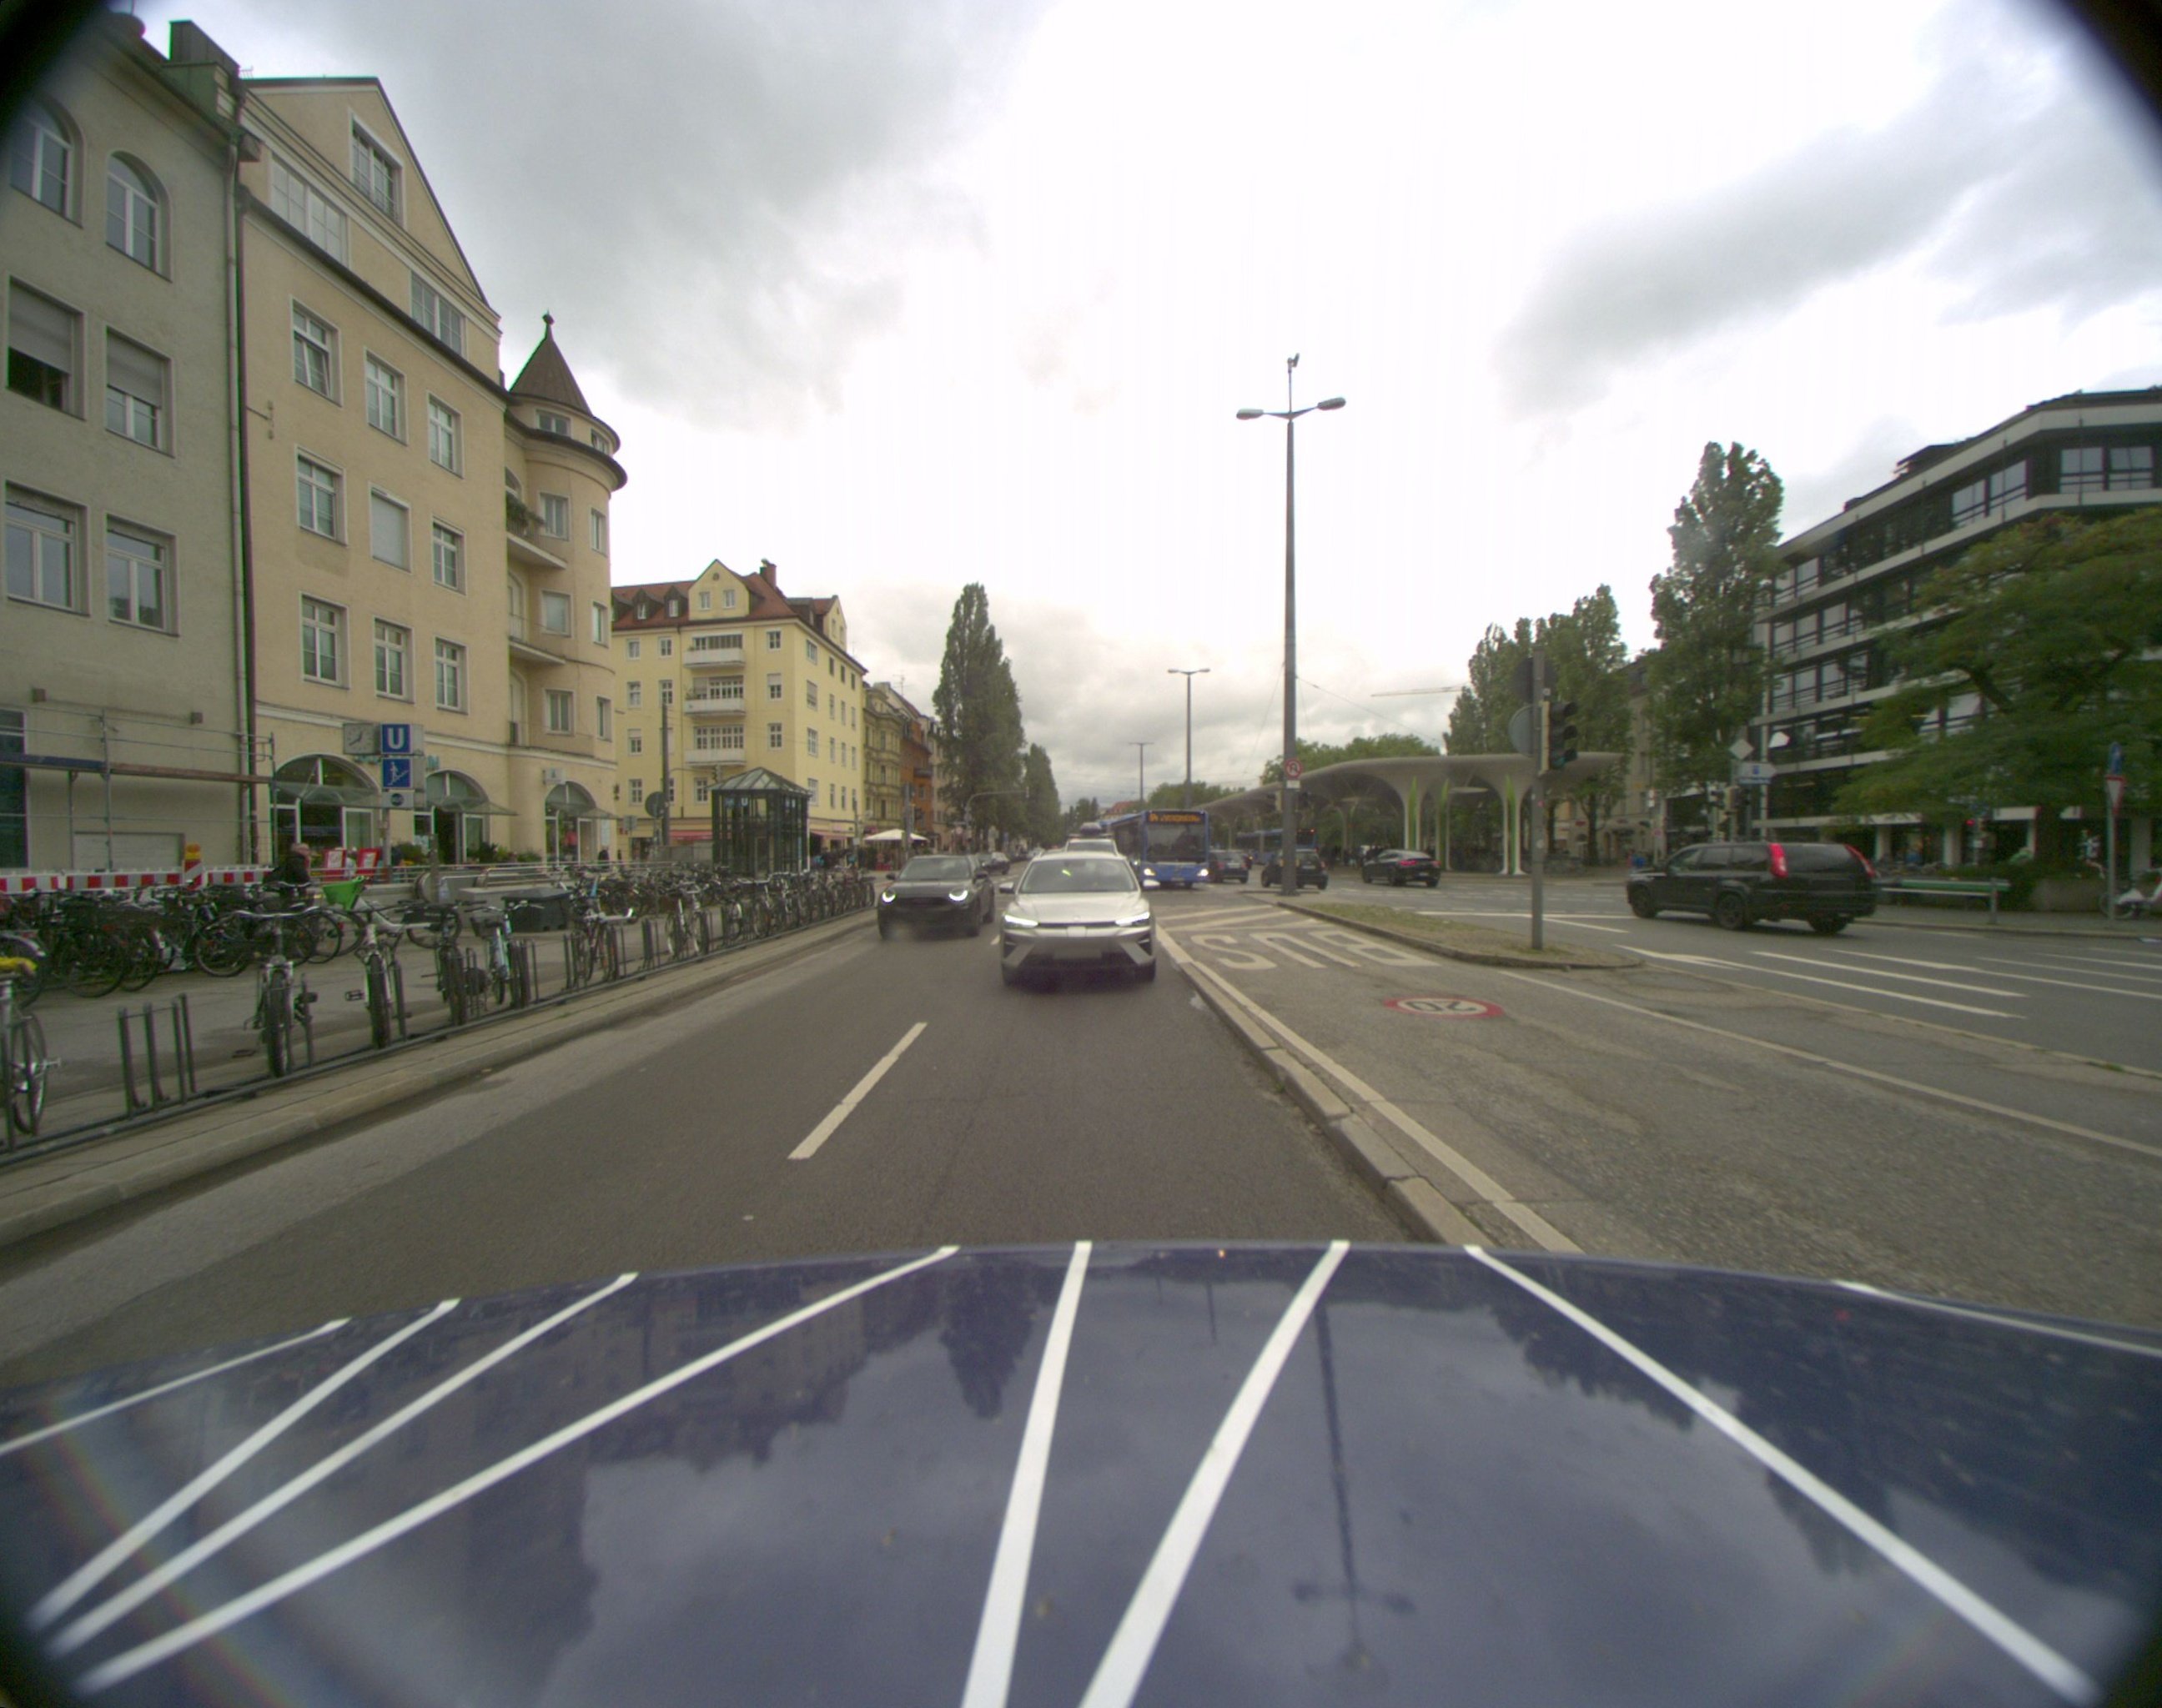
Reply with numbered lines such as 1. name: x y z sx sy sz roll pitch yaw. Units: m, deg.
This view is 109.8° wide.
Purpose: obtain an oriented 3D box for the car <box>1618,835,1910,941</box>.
1. car: 13.093 0.534 15.083 1.997 1.767 4.600 0 1 6

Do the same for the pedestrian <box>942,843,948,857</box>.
1. pedestrian: -16.020 -0.504 89.422 0.552 1.675 0.585 0 1 2

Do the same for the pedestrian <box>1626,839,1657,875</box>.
1. pedestrian: 28.041 0.148 38.023 0.861 1.767 0.980 0 1 2

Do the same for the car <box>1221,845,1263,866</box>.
1. car: 11.621 0.088 55.106 1.999 1.408 4.614 0 1 0

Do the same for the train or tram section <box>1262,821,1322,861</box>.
1. train or tram section: 16.791 -1.053 61.082 2.840 2.984 7.406 0 1 1

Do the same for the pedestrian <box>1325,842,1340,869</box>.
1. pedestrian: 16.371 0.064 49.498 0.711 1.738 0.788 0 1 0

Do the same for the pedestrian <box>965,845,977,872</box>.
1. pedestrian: -7.440 0.285 51.431 0.732 1.792 0.710 0 3 -8

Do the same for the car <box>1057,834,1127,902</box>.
1. car: 0.362 0.358 24.192 1.998 1.889 4.234 -2 2 1

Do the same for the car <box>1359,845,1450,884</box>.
1. car: 14.026 0.412 33.250 1.999 1.567 4.615 0 1 0

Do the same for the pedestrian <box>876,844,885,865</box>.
1. pedestrian: -15.911 0.023 60.341 0.552 1.675 0.585 0 1 2

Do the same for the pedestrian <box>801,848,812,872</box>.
1. pedestrian: -18.173 0.395 50.326 0.528 1.517 0.585 0 1 2

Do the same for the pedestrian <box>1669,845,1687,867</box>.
1. pedestrian: 44.930 0.150 57.207 0.834 1.689 0.906 0 1 23

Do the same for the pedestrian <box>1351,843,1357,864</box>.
1. pedestrian: 19.388 -0.059 53.959 0.320 1.494 0.317 0 1 -8

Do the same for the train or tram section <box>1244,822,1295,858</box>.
1. train or tram section: 16.884 -1.243 68.487 2.840 2.984 7.406 0 1 1

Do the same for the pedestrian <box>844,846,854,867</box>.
1. pedestrian: -17.304 0.200 56.748 0.528 1.517 0.585 0 1 2

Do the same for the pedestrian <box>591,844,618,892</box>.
1. pedestrian: -17.077 0.500 27.243 0.566 1.692 0.590 0 3 0

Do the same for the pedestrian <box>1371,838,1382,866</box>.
1. pedestrian: 19.345 -0.126 49.793 0.666 1.840 0.789 0 1 21

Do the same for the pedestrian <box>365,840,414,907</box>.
1. pedestrian: -18.233 0.495 20.038 0.618 1.729 0.644 0 3 0

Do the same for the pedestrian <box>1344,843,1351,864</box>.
1. pedestrian: 18.959 -0.042 54.070 0.426 1.494 0.490 1 2 27

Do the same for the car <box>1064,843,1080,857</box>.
1. car: -1.166 -0.538 95.044 1.999 1.630 3.999 0 1 -1

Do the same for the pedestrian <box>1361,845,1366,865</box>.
1. pedestrian: 19.838 0.068 53.363 0.303 1.369 0.270 0 1 -2

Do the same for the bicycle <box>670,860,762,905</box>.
1. bicycle: -10.337 0.803 21.560 2.317 1.220 0.628 0 1 3

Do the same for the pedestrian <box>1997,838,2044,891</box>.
1. pedestrian: 31.451 0.346 25.442 0.765 1.725 0.648 0 1 -6

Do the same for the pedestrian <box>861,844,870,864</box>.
1. pedestrian: -18.005 0.031 63.518 0.552 1.675 0.585 0 1 2

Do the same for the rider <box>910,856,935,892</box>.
1. rider: -5.685 0.697 27.307 0.732 1.234 0.732 1 2 -2

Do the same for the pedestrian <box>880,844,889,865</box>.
1. pedestrian: -15.418 0.031 59.549 0.552 1.675 0.585 0 1 2

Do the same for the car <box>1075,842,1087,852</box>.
1. car: -0.006 -1.273 129.686 1.858 1.696 4.000 0 1 2

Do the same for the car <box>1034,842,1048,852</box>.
1. car: -6.596 -1.226 125.740 1.998 1.630 3.999 0 1 1

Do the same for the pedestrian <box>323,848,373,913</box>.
1. pedestrian: -17.858 0.637 18.521 0.566 1.533 0.590 0 3 0

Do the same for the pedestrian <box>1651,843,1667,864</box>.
1. pedestrian: 49.184 -0.051 64.676 0.799 1.714 0.827 0 1 12

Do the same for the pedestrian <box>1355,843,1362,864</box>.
1. pedestrian: 19.558 -0.026 53.623 0.335 1.494 0.317 0 1 -8

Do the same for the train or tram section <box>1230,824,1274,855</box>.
1. train or tram section: 16.964 -1.435 75.884 2.840 2.984 7.406 0 1 1

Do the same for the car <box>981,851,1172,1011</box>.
1. car: 0.012 0.778 9.730 1.896 1.483 3.999 -2 2 2

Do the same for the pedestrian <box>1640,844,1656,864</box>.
1. pedestrian: 48.240 -0.017 64.677 0.799 1.714 0.827 0 1 12

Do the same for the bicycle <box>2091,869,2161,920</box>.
1. bicycle: 21.724 0.828 15.642 1.298 1.010 0.419 0 1 -1

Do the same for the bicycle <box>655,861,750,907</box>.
1. bicycle: -10.403 0.822 20.928 2.317 1.220 0.628 0 1 3

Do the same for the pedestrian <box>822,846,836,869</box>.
1. pedestrian: -18.049 0.245 54.408 0.683 1.657 0.624 0 1 25

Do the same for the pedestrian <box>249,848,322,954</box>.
1. pedestrian: -13.290 0.757 12.716 0.741 1.699 0.703 -1 2 -40

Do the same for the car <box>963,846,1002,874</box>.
1. car: -6.182 0.343 48.047 1.854 1.615 3.999 -2 2 1

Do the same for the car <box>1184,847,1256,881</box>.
1. car: 6.311 0.432 34.816 1.630 1.471 3.381 0 1 -22

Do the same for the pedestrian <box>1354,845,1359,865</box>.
1. pedestrian: 19.348 0.067 53.364 0.316 1.335 0.339 0 2 18

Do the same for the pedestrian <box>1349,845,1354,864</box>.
1. pedestrian: 19.021 0.026 53.446 0.316 1.335 0.339 0 1 18

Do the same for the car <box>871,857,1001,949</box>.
1. car: -2.697 0.845 15.023 1.740 1.462 4.050 -1 1 0

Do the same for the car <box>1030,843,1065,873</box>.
1. car: -2.182 0.224 50.029 1.998 1.740 3.999 -2 2 1

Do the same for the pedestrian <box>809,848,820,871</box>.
1. pedestrian: -17.666 0.378 50.332 0.528 1.517 0.585 0 1 2

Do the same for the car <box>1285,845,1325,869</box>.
1. car: 14.068 0.165 47.870 1.674 1.507 2.746 0 1 -1

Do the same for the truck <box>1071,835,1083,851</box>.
1. truck: -0.875 -2.456 169.998 2.540 3.468 7.751 0 1 1

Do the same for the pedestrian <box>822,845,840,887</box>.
1. pedestrian: -10.664 0.510 32.416 0.641 1.767 0.609 -2 2 -22

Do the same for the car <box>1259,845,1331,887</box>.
1. car: 8.234 0.433 29.454 1.562 1.498 2.785 -1 1 -12

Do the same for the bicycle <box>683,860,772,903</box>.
1. bicycle: -10.324 0.786 22.223 2.317 1.220 0.628 0 1 3

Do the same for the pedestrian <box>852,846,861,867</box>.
1. pedestrian: -16.786 0.181 56.824 0.528 1.517 0.585 0 1 2

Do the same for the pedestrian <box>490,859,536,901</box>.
1. pedestrian: -17.658 0.799 23.649 0.701 1.239 0.918 0 3 0
